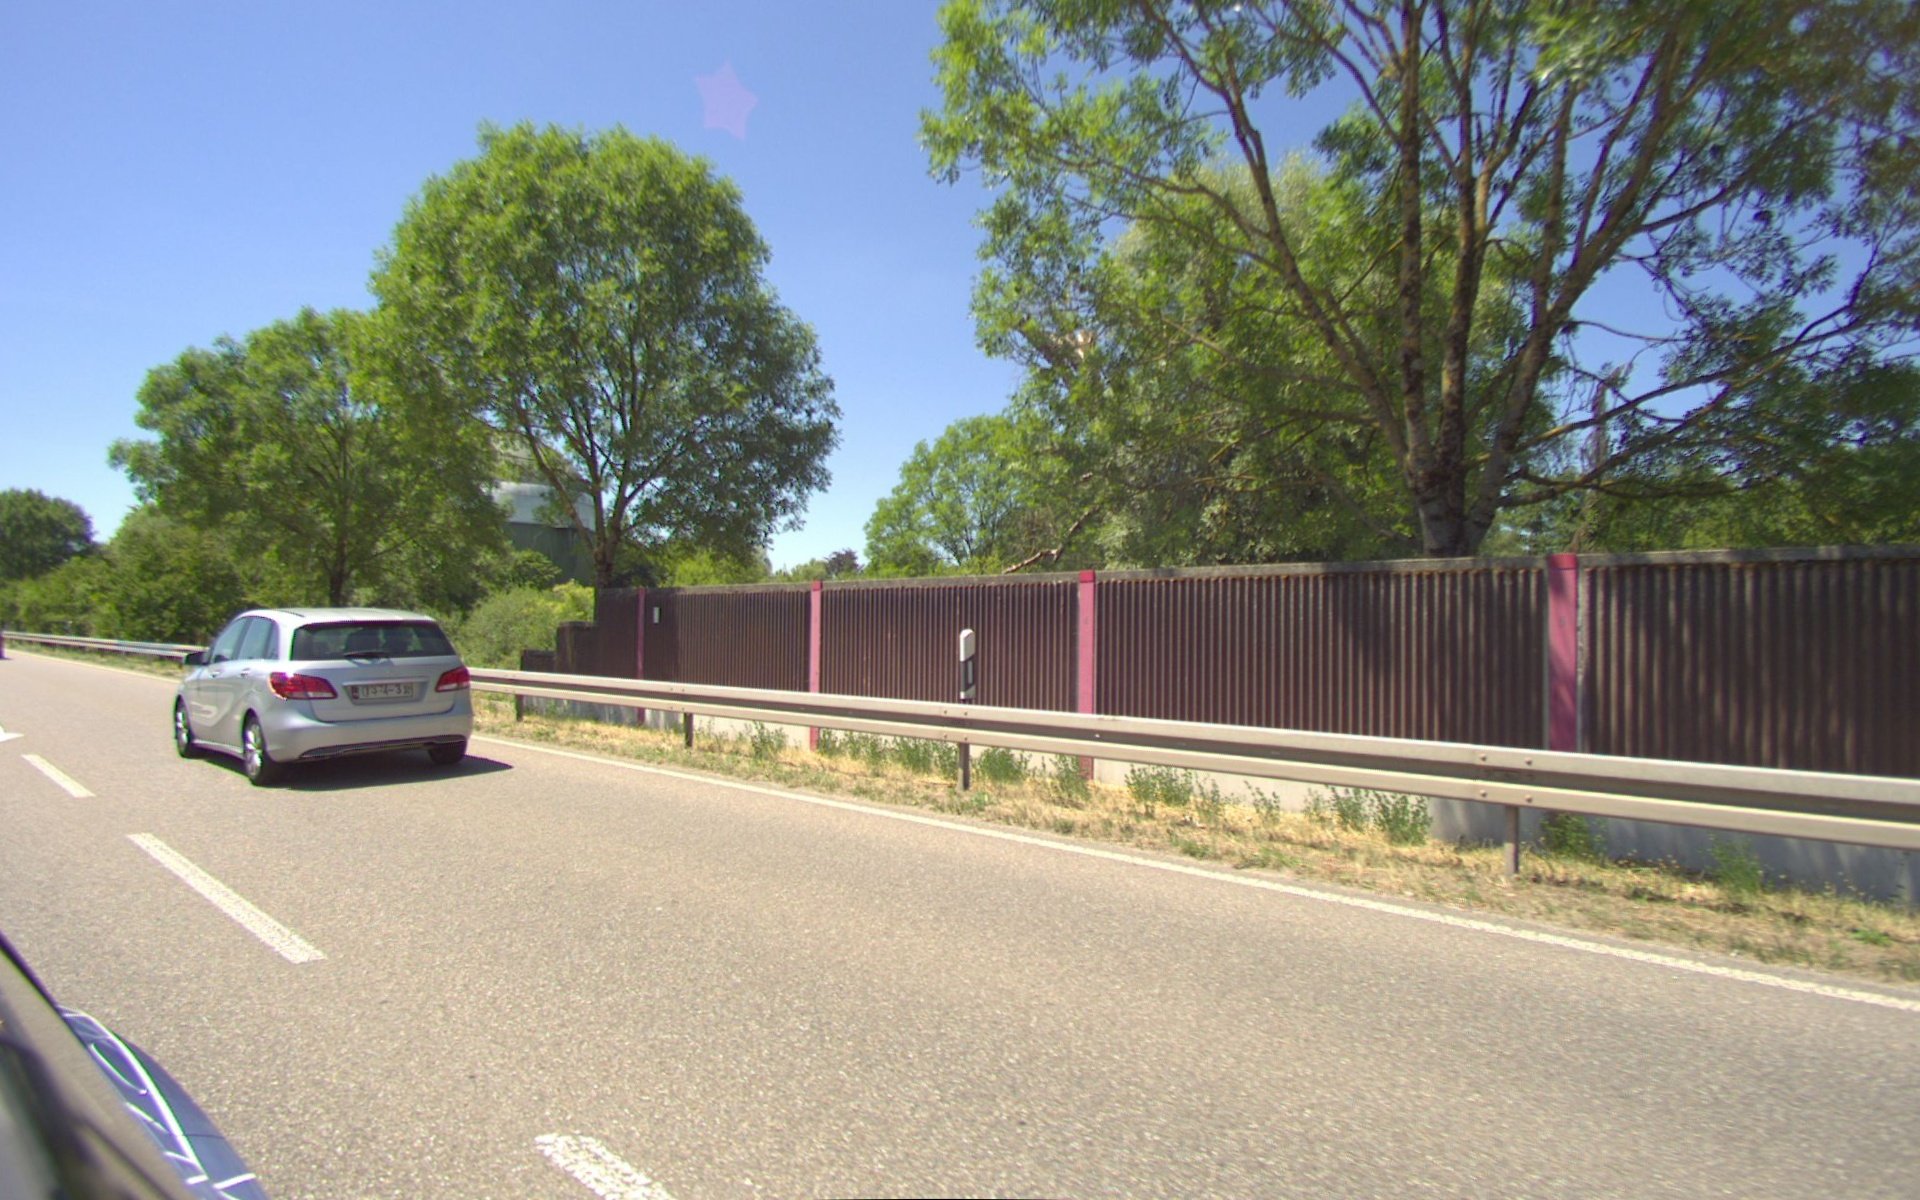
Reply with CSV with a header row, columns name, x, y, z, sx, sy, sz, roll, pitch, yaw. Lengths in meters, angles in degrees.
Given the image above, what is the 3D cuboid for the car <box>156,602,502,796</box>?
name,x,y,z,sx,sy,sz,roll,pitch,yaw
car,-6.485,0.829,10.191,4.388,1.537,1.771,-1,-1,41

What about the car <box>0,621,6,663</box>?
name,x,y,z,sx,sy,sz,roll,pitch,yaw
car,-35.525,1.493,36.114,3.997,1.432,1.771,-1,-1,41
